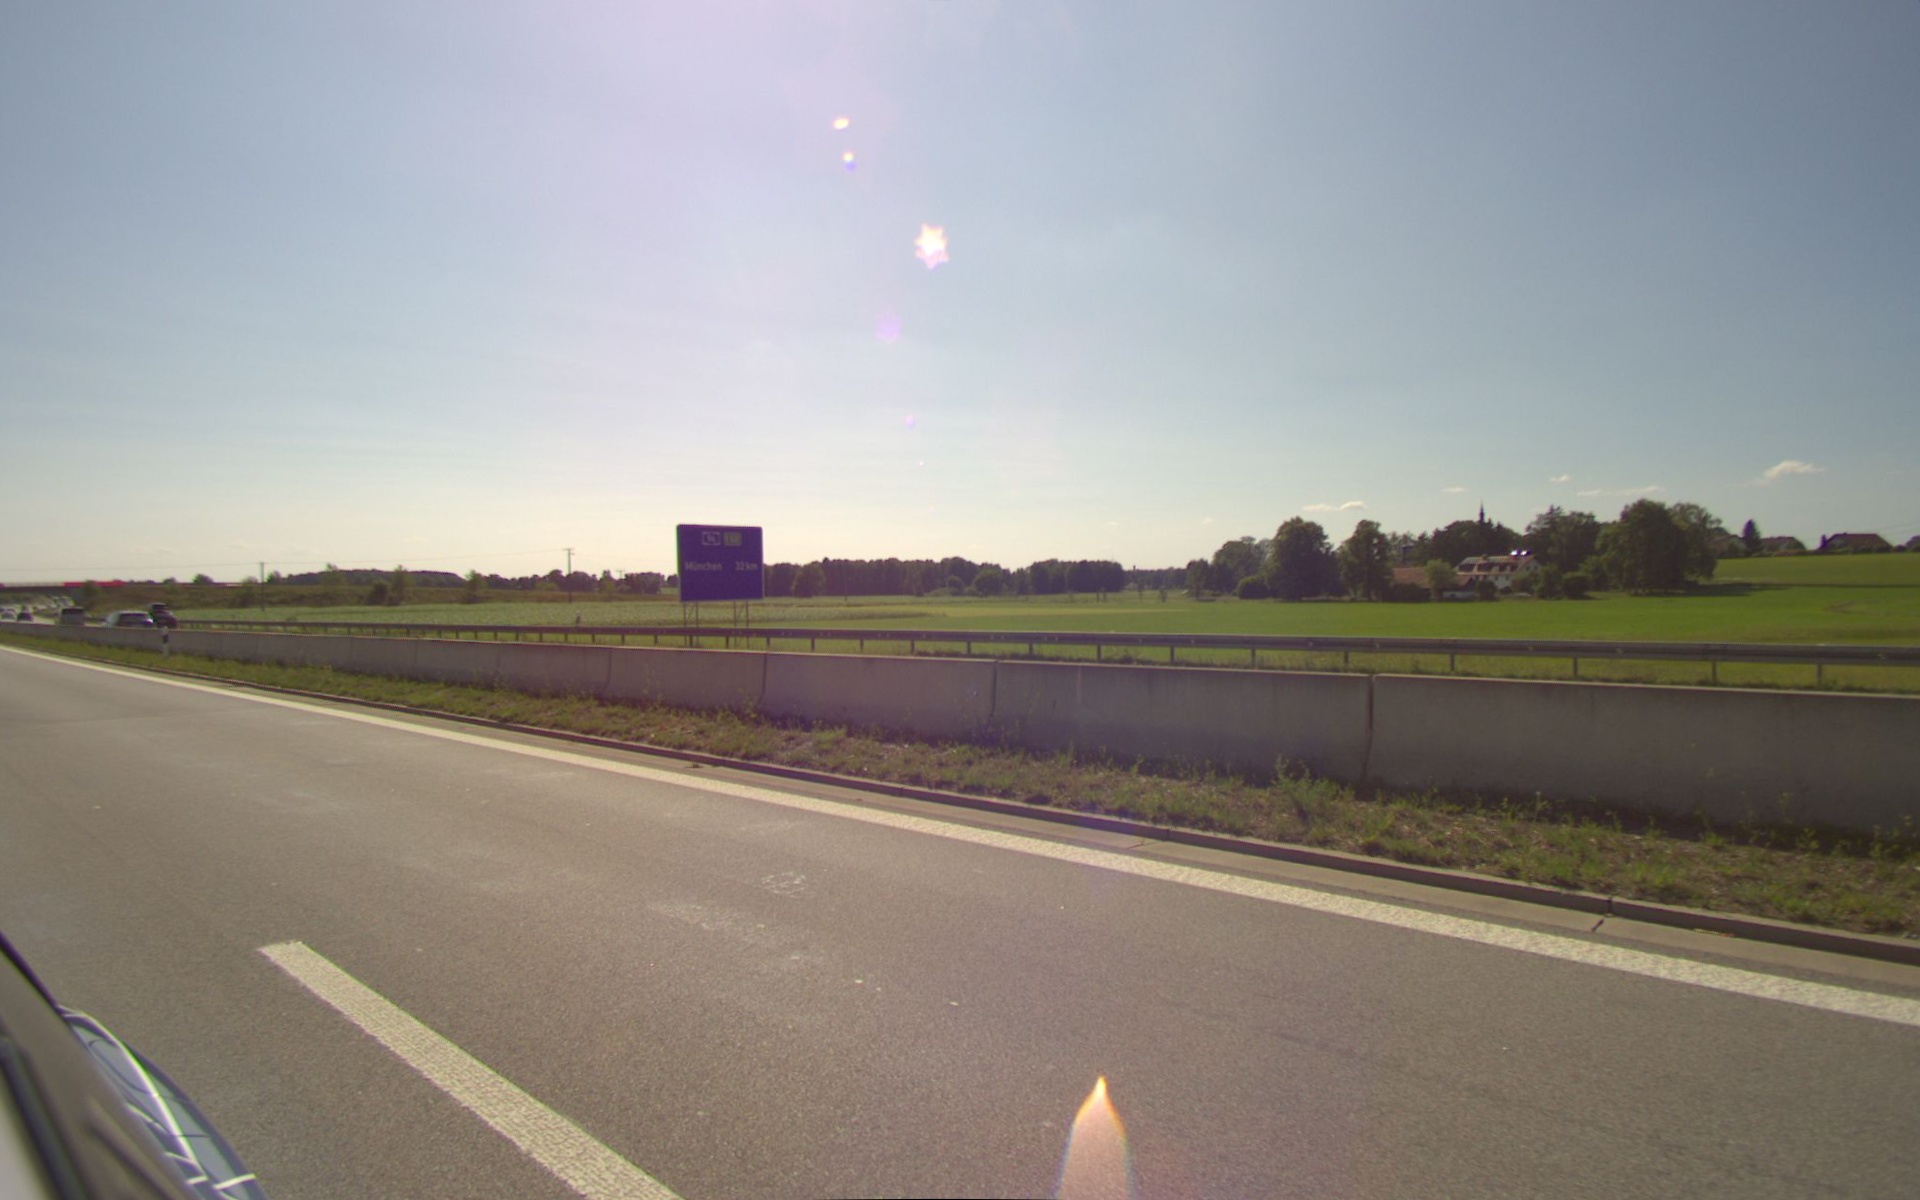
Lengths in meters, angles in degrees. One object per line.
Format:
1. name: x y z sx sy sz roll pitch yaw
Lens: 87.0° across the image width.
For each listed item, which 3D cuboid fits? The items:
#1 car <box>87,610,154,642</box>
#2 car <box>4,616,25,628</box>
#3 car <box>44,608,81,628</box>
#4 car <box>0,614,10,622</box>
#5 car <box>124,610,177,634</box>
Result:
1. car: -42.188 1.305 50.848 4.804 1.535 1.878 -1 -1 42
2. car: -136.037 3.153 145.618 4.913 1.597 1.838 -1 -1 42
3. car: -84.716 1.670 95.487 5.447 1.856 1.933 -1 -1 42
4. car: -166.264 3.203 175.524 5.295 1.375 1.803 -1 -1 43
5. car: -52.898 1.425 66.110 4.804 1.535 1.878 -1 -1 42
